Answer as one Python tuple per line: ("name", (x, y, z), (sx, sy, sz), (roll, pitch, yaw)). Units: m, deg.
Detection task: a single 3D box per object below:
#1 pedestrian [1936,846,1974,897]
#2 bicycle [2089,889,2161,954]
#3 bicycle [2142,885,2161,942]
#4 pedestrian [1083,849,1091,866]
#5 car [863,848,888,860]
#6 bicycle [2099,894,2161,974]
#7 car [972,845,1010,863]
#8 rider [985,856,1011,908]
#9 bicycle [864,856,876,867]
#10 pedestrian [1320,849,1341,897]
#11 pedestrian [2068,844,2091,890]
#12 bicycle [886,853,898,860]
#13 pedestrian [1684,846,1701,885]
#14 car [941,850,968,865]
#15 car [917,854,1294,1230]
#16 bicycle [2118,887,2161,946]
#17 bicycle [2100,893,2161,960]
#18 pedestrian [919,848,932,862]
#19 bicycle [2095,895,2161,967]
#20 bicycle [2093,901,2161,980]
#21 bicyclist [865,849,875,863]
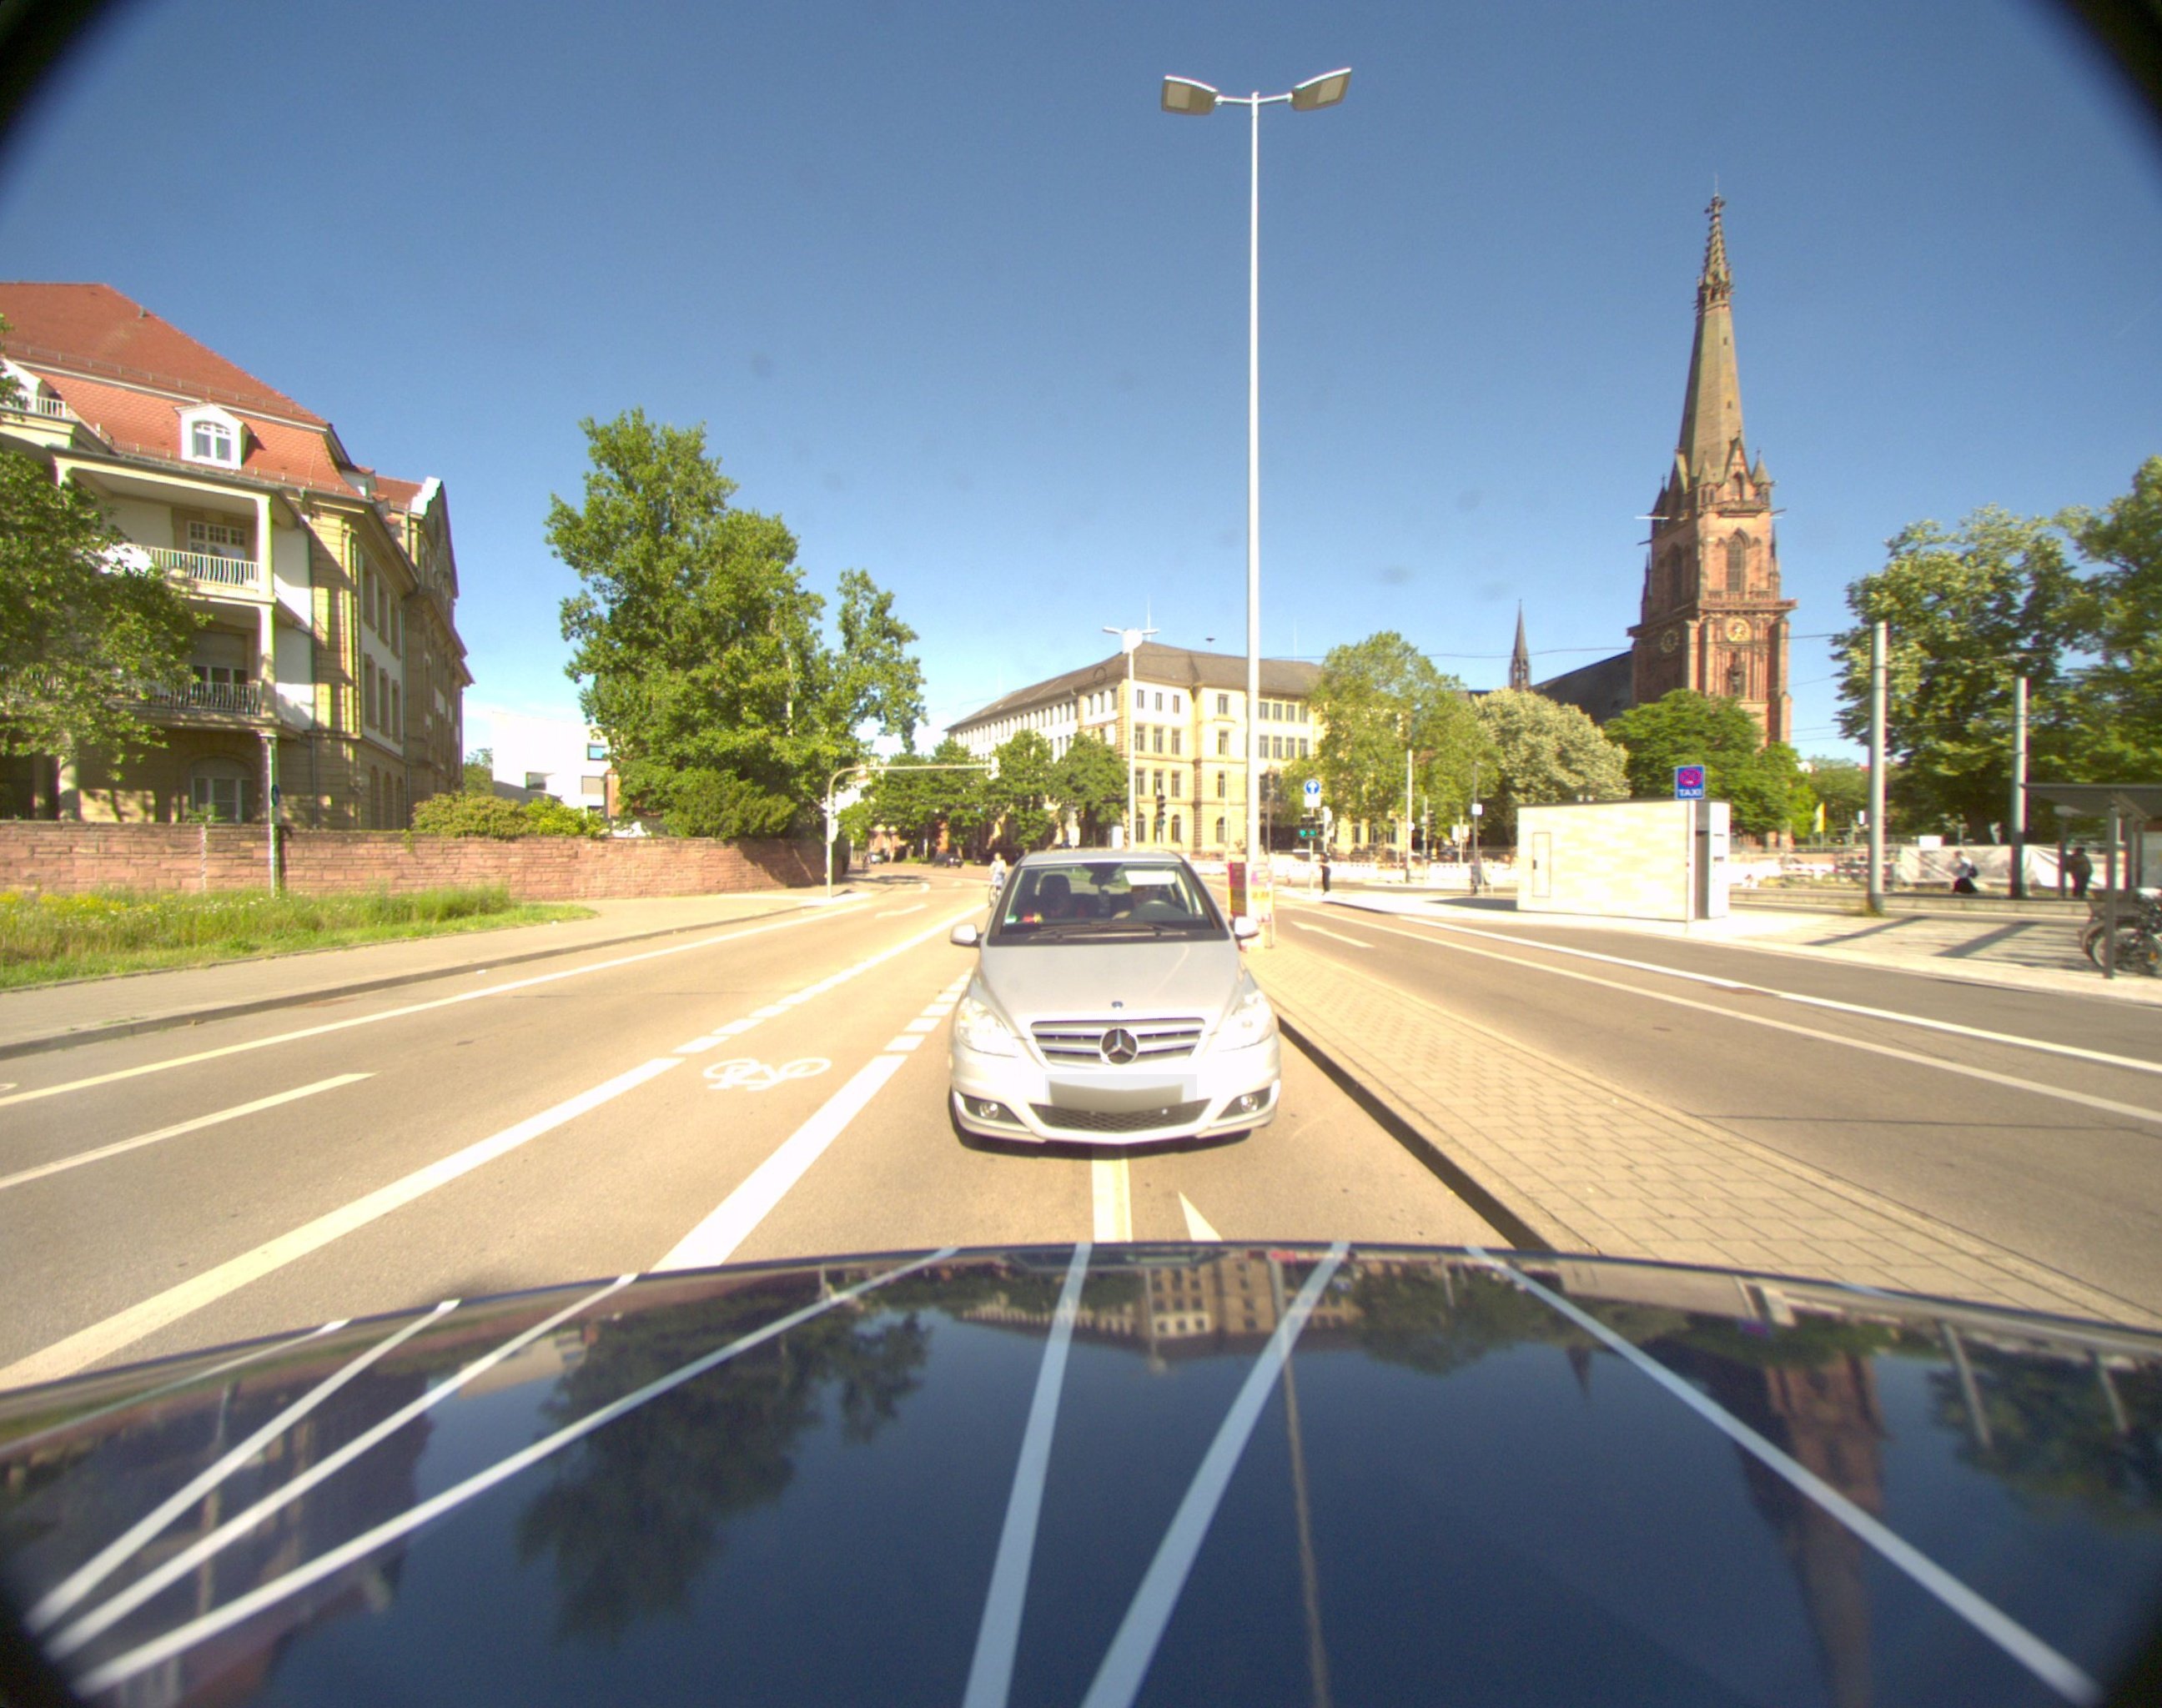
("pedestrian", (31.176, 0.606, 27.104), (0.980, 1.769, 0.801), (-1, 1, -37))
("bicycle", (17.911, 1.127, 12.429), (0.458, 1.003, 1.667), (-1, 1, -33))
("bicycle", (19.892, 1.075, 13.201), (0.458, 1.003, 1.667), (-1, 1, -33))
("pedestrian", (0.606, 0.315, 77.735), (0.677, 1.714, 0.588), (-1, 1, -22))
("car", (-26.919, 0.026, 99.441), (1.865, 1.533, 4.229), (1, 1, -35))
("bicycle", (15.198, 1.123, 10.280), (0.458, 1.055, 1.667), (-1, 1, -33))
("car", (-10.734, -0.034, 90.760), (1.994, 2.002, 4.721), (0, 1, 32))
("rider", (-2.638, 0.874, 24.243), (0.658, 1.610, 0.989), (-1, 1, 1))
("bicycle", (-20.427, 0.710, 73.551), (0.711, 1.000, 1.753), (-1, 1, 1))
("pedestrian", (9.715, 0.716, 29.611), (0.693, 1.844, 0.679), (0, 1, 12))
("pedestrian", (37.568, 0.499, 28.579), (0.404, 1.711, 0.419), (1, 1, 38))
("bicycle", (-25.634, 0.295, 103.205), (1.830, 0.985, 0.735), (0, 1, 44))
("pedestrian", (34.417, 0.632, 42.748), (0.571, 2.142, 0.549), (-1, 1, -25))
("car", (-13.411, 0.372, 80.398), (1.797, 1.490, 4.565), (1, 1, -23))
("car", (0.085, 0.870, 5.465), (1.706, 1.657, 3.913), (-1, 1, -1))
("bicycle", (19.125, 1.098, 12.949), (0.458, 1.003, 1.667), (-1, 1, -33))
("bicycle", (17.257, 1.147, 11.655), (0.458, 1.003, 1.899), (-1, 1, -33))
("pedestrian", (-20.459, 0.084, 100.008), (0.934, 1.812, 1.394), (1, 1, 45))
("bicycle", (16.070, 1.143, 10.977), (0.458, 1.003, 1.667), (-1, 1, -33))
("bicycle", (14.697, 1.171, 9.965), (0.458, 1.003, 1.667), (-1, 1, -33))
("bicyclist", (-20.425, 0.197, 73.432), (0.711, 1.309, 0.777), (-1, 1, 0))
